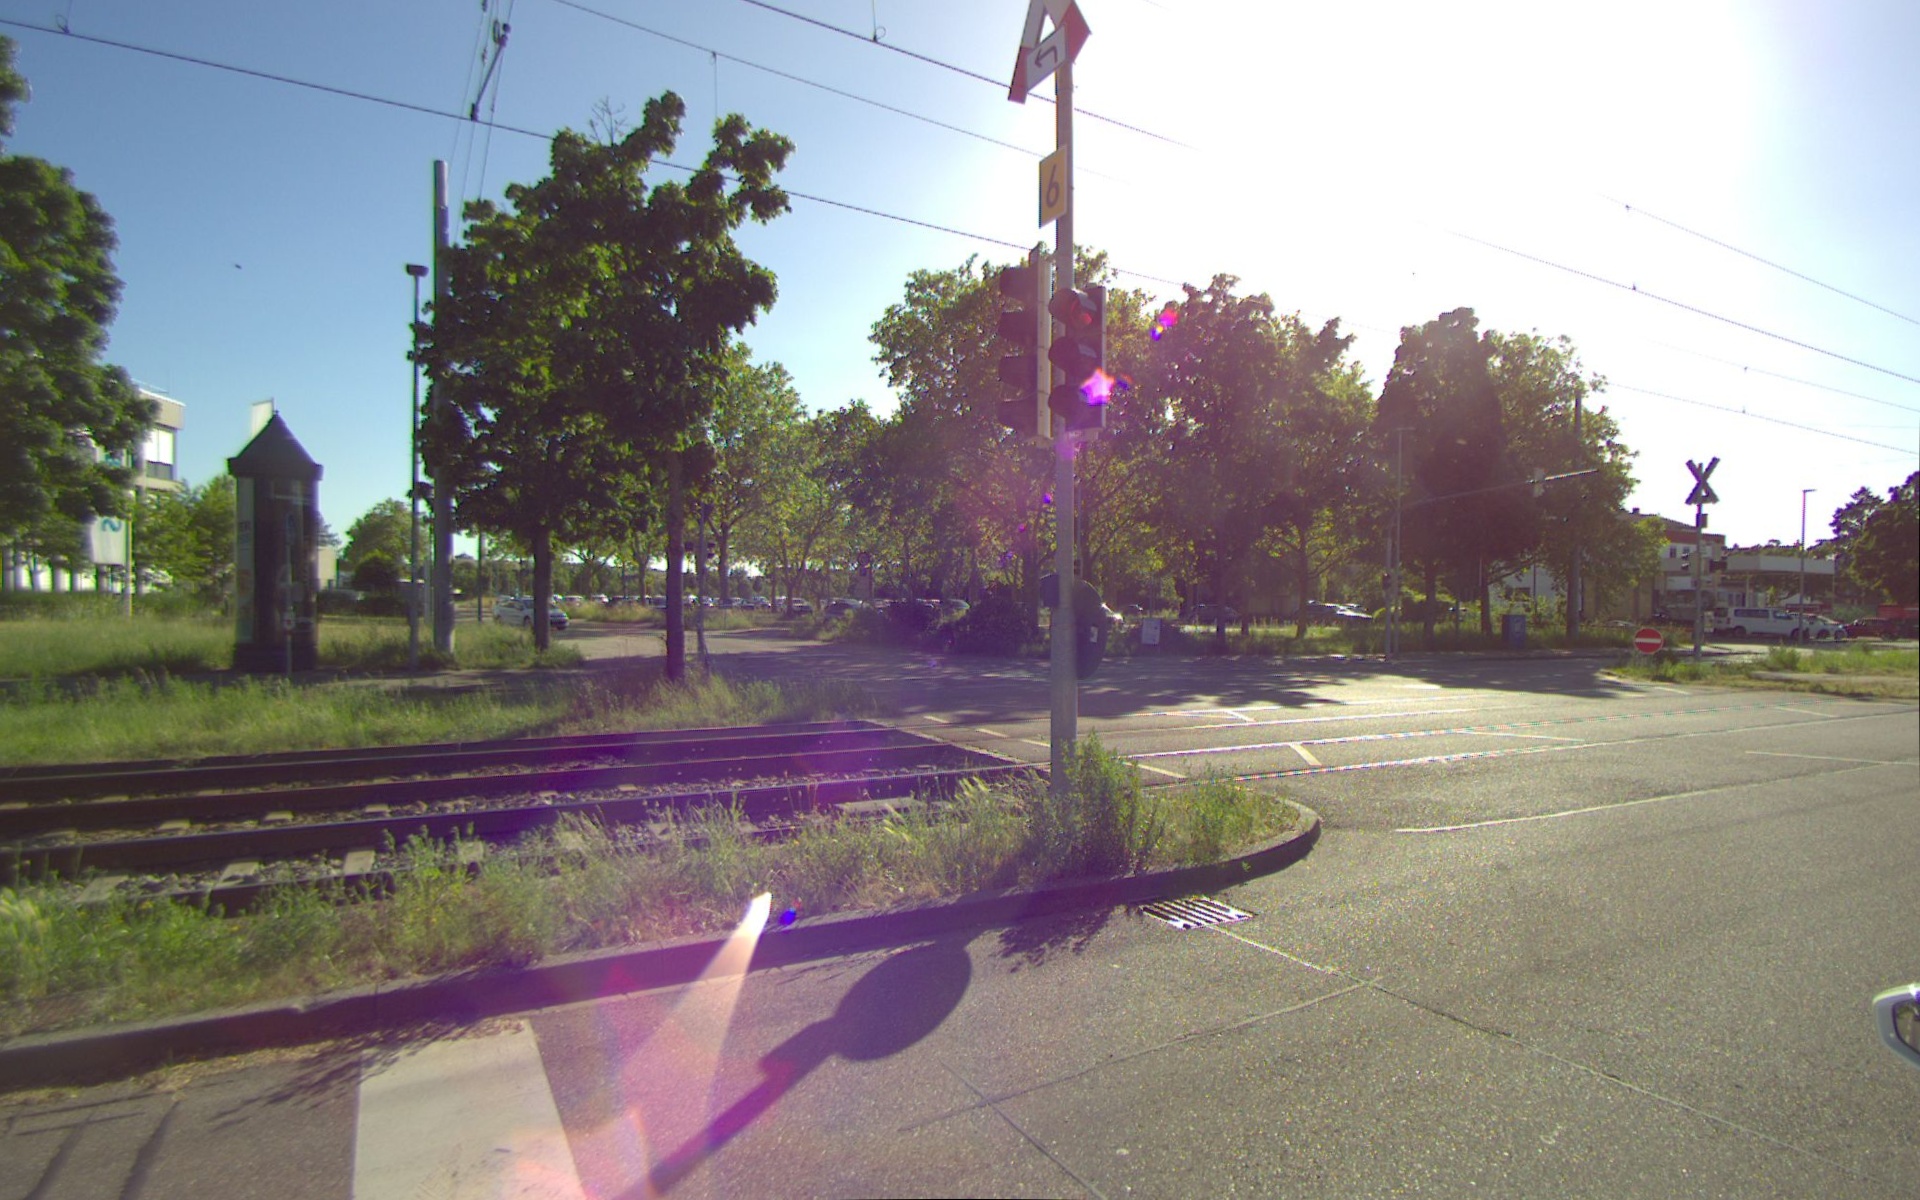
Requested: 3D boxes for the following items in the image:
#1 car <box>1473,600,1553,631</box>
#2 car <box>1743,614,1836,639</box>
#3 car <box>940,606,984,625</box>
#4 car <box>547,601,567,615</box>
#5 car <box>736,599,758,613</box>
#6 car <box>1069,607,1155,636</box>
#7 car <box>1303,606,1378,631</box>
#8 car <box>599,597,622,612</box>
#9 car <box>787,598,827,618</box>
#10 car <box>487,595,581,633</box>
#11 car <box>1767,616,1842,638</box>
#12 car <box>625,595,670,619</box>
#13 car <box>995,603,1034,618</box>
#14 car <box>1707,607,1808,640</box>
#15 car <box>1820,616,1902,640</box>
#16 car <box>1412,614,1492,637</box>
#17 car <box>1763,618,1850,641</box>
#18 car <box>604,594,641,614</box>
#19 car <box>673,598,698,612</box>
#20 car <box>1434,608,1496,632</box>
[{"bbox_3d":[39.583,1.105,72.055,1.997,2.119,4.698,0,0,-30],"label":"car"},{"bbox_3d":[53.882,1.725,65.341,4.380,1.548,1.793,0,0,8],"label":"car"},{"bbox_3d":[0.124,1.294,83.744,1.728,1.468,3.940,1,0,-34],"label":"car"},{"bbox_3d":[-48.672,0.953,121.199,1.950,1.570,4.402,1,0,-26],"label":"car"},{"bbox_3d":[-25.211,0.687,119.045,1.805,1.627,3.977,1,0,-23],"label":"car"},{"bbox_3d":[7.421,1.026,49.299,1.859,1.400,3.950,1,-1,-42],"label":"car"},{"bbox_3d":[22.406,1.079,59.292,1.649,1.451,3.941,0,-1,-34],"label":"car"},{"bbox_3d":[-38.404,0.502,110.288,1.950,1.570,4.402,1,0,-26],"label":"car"},{"bbox_3d":[-13.226,0.699,86.606,1.814,1.690,3.958,1,0,-37],"label":"car"},{"bbox_3d":[-19.430,0.614,45.782,4.359,1.662,1.983,0,0,36],"label":"car"},{"bbox_3d":[64.141,2.033,76.316,1.772,1.589,4.049,0,-1,-31],"label":"car"},{"bbox_3d":[-22.307,0.480,71.607,1.814,1.690,3.958,1,0,-37],"label":"car"},{"bbox_3d":[5.386,1.027,99.513,1.828,1.451,3.940,1,0,-34],"label":"car"},{"bbox_3d":[50.028,1.467,63.088,4.689,2.000,1.862,0,0,8],"label":"car"},{"bbox_3d":[64.111,1.986,71.507,1.772,1.589,4.049,0,-1,-31],"label":"car"},{"bbox_3d":[28.766,1.483,58.794,1.648,1.182,3.941,1,0,-33],"label":"car"},{"bbox_3d":[57.099,1.966,67.799,4.383,1.490,1.792,0,0,0],"label":"car"},{"bbox_3d":[-28.666,0.367,85.154,1.814,1.627,3.958,1,0,-37],"label":"car"},{"bbox_3d":[-31.358,0.583,114.649,1.964,1.570,4.402,1,-1,-26],"label":"car"},{"bbox_3d":[33.810,1.343,67.259,4.035,1.565,1.572,1,0,-27],"label":"car"}]
